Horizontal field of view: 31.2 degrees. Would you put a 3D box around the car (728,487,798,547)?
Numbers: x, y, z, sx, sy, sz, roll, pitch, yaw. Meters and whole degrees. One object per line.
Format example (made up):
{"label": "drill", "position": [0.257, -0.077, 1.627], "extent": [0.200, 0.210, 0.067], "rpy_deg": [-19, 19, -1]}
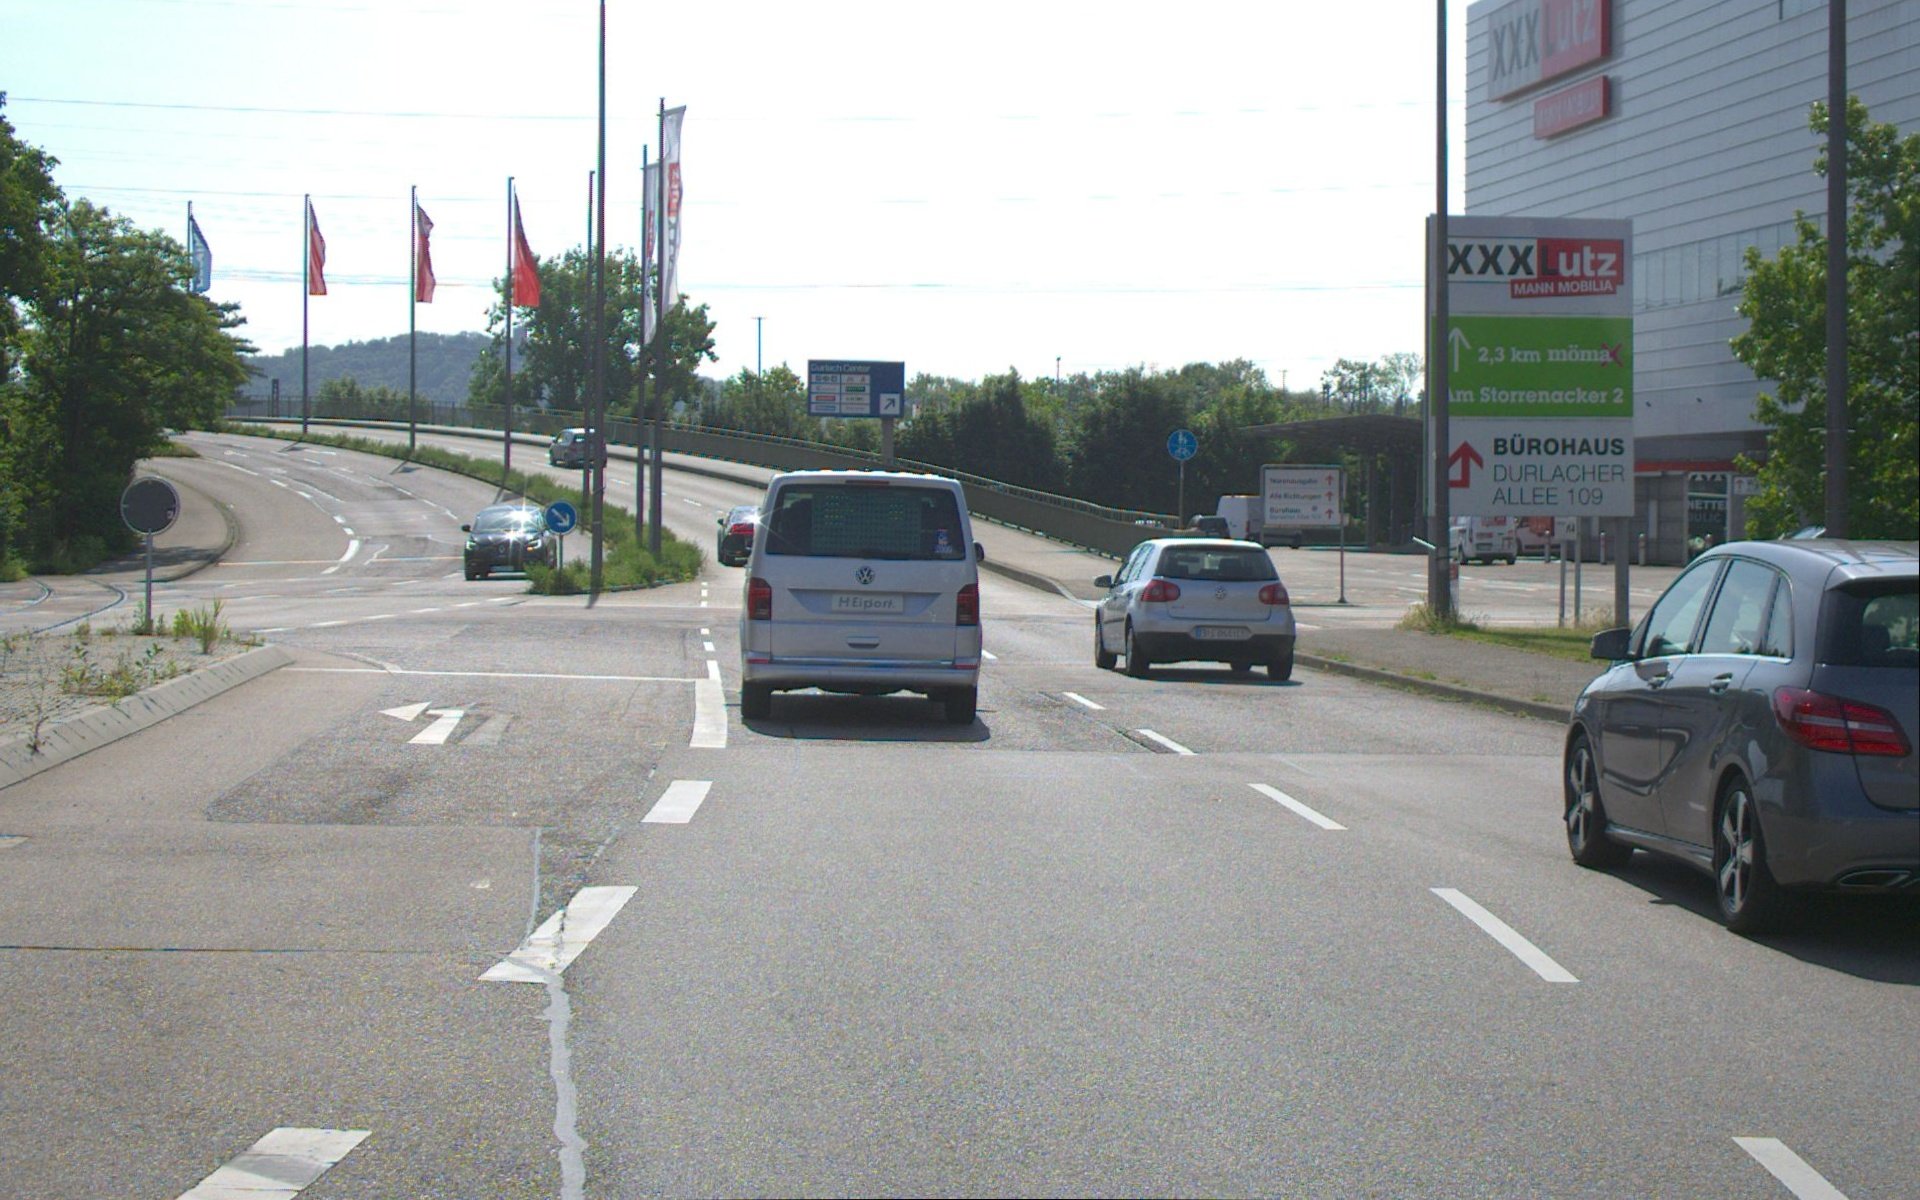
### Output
{"label": "car", "position": [-5.119, -2.148, 89.035], "extent": [1.530, 1.474, 3.248], "rpy_deg": [2, 1, -8]}

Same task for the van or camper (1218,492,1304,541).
{"label": "van or camper", "position": [15.225, -4.222, 173.687], "extent": [2.102, 2.171, 5.428], "rpy_deg": [3, 0, 30]}

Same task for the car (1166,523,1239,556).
{"label": "car", "position": [11.284, -2.832, 160.054], "extent": [1.993, 1.415, 4.001], "rpy_deg": [3, 0, -17]}

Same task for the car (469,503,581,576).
{"label": "car", "position": [-9.967, -1.421, 79.076], "extent": [1.915, 1.601, 4.272], "rpy_deg": [1, 2, 1]}

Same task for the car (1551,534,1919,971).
{"label": "car", "position": [3.814, 0.533, 14.540], "extent": [1.773, 1.533, 4.138], "rpy_deg": [2, 2, -1]}

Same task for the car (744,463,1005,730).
{"label": "car", "position": [-0.752, -0.082, 27.908], "extent": [1.916, 1.968, 4.298], "rpy_deg": [1, 2, -3]}

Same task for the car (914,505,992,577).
{"label": "car", "position": [-0.185, -1.371, 78.905], "extent": [1.531, 1.474, 3.597], "rpy_deg": [2, 3, -4]}

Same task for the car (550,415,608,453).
{"label": "car", "position": [-15.679, -6.816, 141.439], "extent": [1.530, 1.475, 3.426], "rpy_deg": [2, 1, -21]}

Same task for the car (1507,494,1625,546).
{"label": "car", "position": [23.795, -3.156, 135.044], "extent": [4.187, 1.922, 1.777], "rpy_deg": [1, 2, -5]}

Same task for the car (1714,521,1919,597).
{"label": "car", "position": [19.806, -0.962, 79.131], "extent": [4.421, 1.608, 1.838], "rpy_deg": [-1, 2, -9]}

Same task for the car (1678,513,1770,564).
{"label": "car", "position": [24.379, -1.983, 109.821], "extent": [1.672, 1.504, 4.094], "rpy_deg": [1, 2, -5]}

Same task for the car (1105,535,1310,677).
{"label": "car", "position": [2.631, 0.027, 37.275], "extent": [1.666, 1.409, 3.683], "rpy_deg": [1, 1, -4]}

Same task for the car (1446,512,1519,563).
{"label": "car", "position": [18.866, -2.278, 124.288], "extent": [1.672, 1.745, 4.094], "rpy_deg": [1, 2, -5]}
